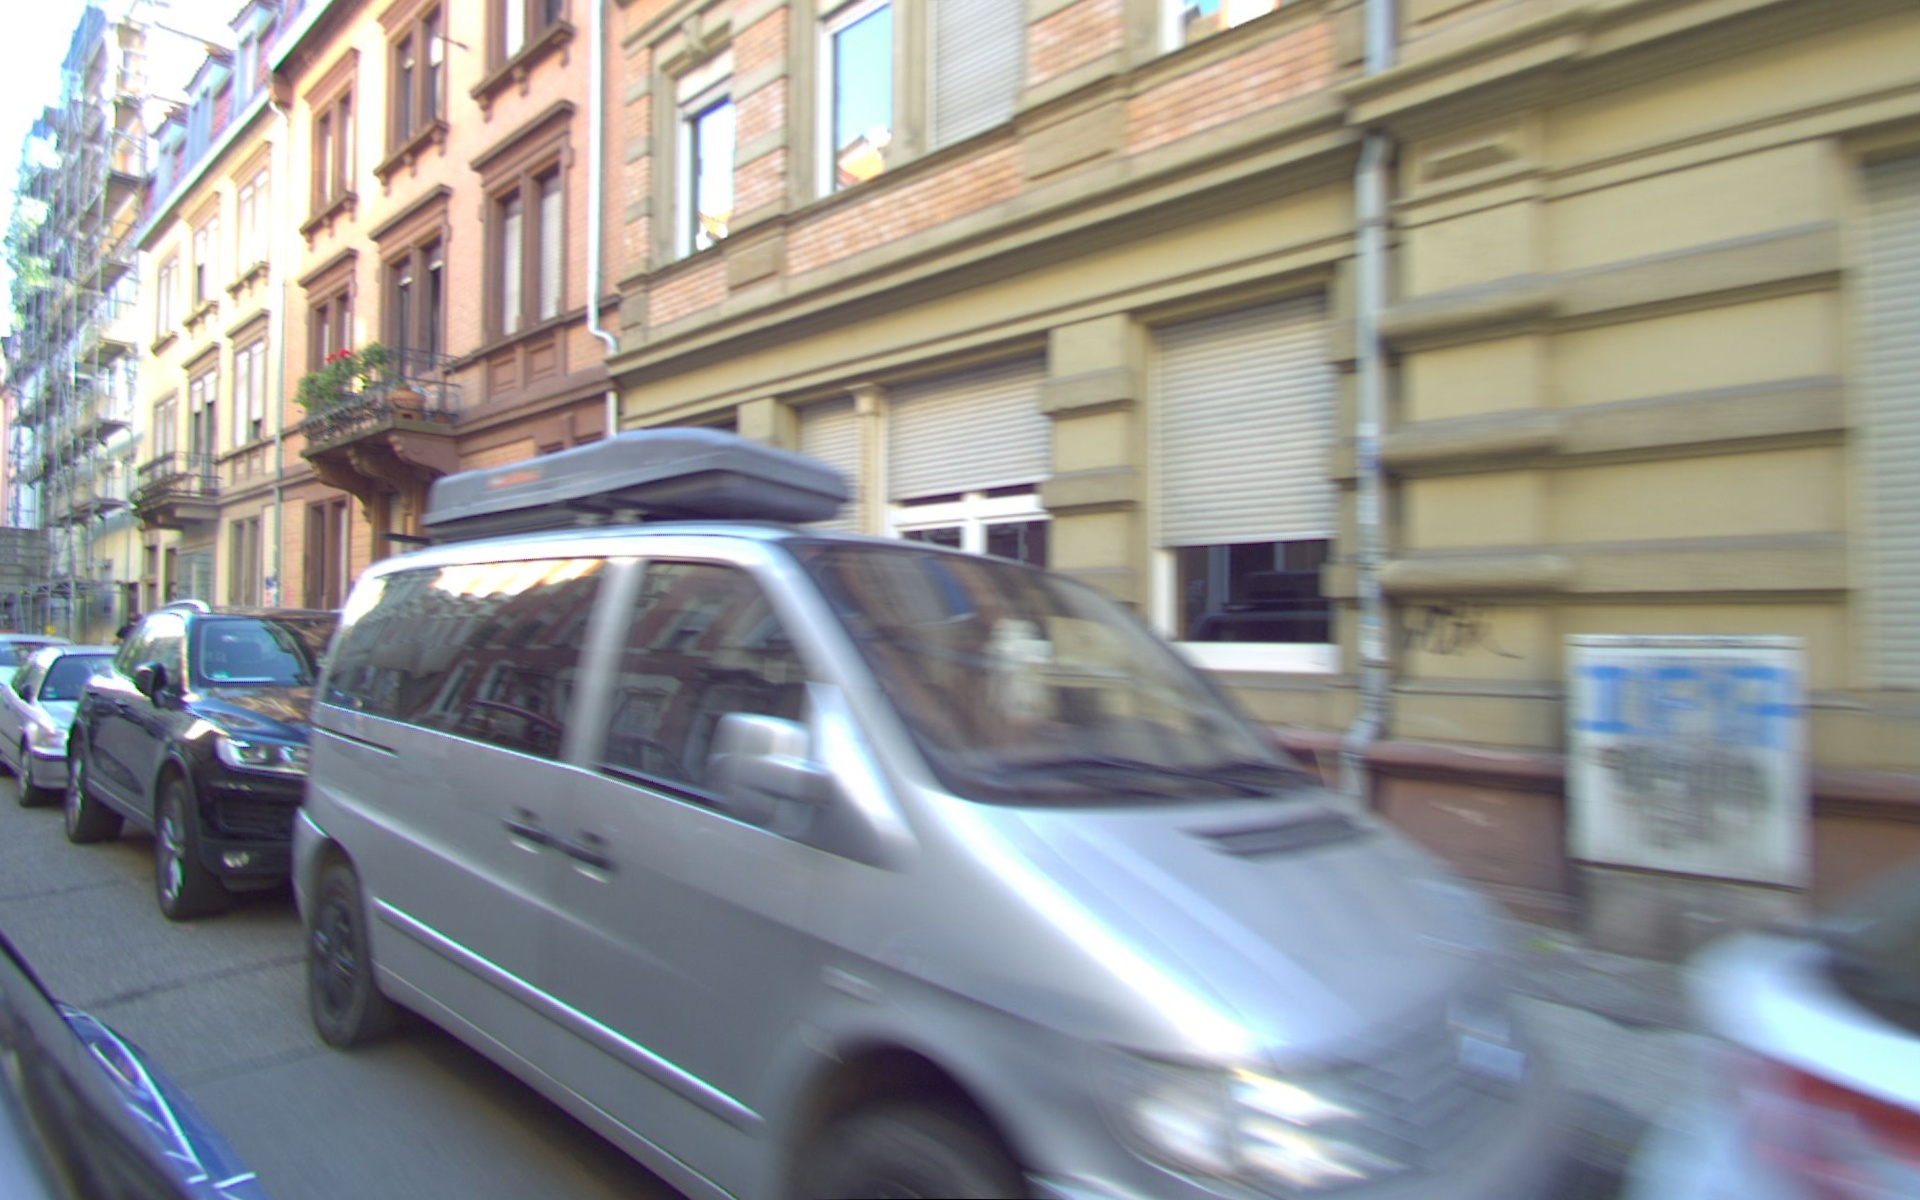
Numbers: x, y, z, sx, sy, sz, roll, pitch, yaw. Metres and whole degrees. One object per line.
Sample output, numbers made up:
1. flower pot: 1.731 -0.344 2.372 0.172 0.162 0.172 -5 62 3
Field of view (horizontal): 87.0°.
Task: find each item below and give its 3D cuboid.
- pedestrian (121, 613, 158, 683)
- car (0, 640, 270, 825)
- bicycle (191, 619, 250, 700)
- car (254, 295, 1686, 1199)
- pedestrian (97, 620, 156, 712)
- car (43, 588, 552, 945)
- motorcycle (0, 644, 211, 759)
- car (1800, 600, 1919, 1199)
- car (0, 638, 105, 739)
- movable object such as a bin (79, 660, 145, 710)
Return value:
1. pedestrian: -15.471 0.897 19.075 0.646 1.294 0.445 -1 -1 41
2. car: -8.365 1.120 9.908 3.998 1.324 1.681 -1 1 41
3. bicycle: -14.005 1.097 19.143 1.711 1.436 0.518 -1 1 42
4. car: -0.558 0.620 3.327 4.606 1.798 1.873 -2 -1 41
5. pedestrian: -16.552 1.293 20.108 0.886 1.778 0.679 -2 -3 38
6. car: -4.709 0.818 6.860 4.606 1.636 1.769 -2 -1 42
7. motorcycle: -11.113 1.292 13.048 2.165 1.370 0.844 2 -4 -1
8. car: 2.678 0.680 0.149 3.871 1.431 1.657 -2 -1 40
9. car: -15.000 1.323 15.926 3.997 1.430 1.657 -2 -4 40
10. movable object such as a bin: -17.455 1.731 20.820 1.413 0.939 0.754 -2 -3 38
